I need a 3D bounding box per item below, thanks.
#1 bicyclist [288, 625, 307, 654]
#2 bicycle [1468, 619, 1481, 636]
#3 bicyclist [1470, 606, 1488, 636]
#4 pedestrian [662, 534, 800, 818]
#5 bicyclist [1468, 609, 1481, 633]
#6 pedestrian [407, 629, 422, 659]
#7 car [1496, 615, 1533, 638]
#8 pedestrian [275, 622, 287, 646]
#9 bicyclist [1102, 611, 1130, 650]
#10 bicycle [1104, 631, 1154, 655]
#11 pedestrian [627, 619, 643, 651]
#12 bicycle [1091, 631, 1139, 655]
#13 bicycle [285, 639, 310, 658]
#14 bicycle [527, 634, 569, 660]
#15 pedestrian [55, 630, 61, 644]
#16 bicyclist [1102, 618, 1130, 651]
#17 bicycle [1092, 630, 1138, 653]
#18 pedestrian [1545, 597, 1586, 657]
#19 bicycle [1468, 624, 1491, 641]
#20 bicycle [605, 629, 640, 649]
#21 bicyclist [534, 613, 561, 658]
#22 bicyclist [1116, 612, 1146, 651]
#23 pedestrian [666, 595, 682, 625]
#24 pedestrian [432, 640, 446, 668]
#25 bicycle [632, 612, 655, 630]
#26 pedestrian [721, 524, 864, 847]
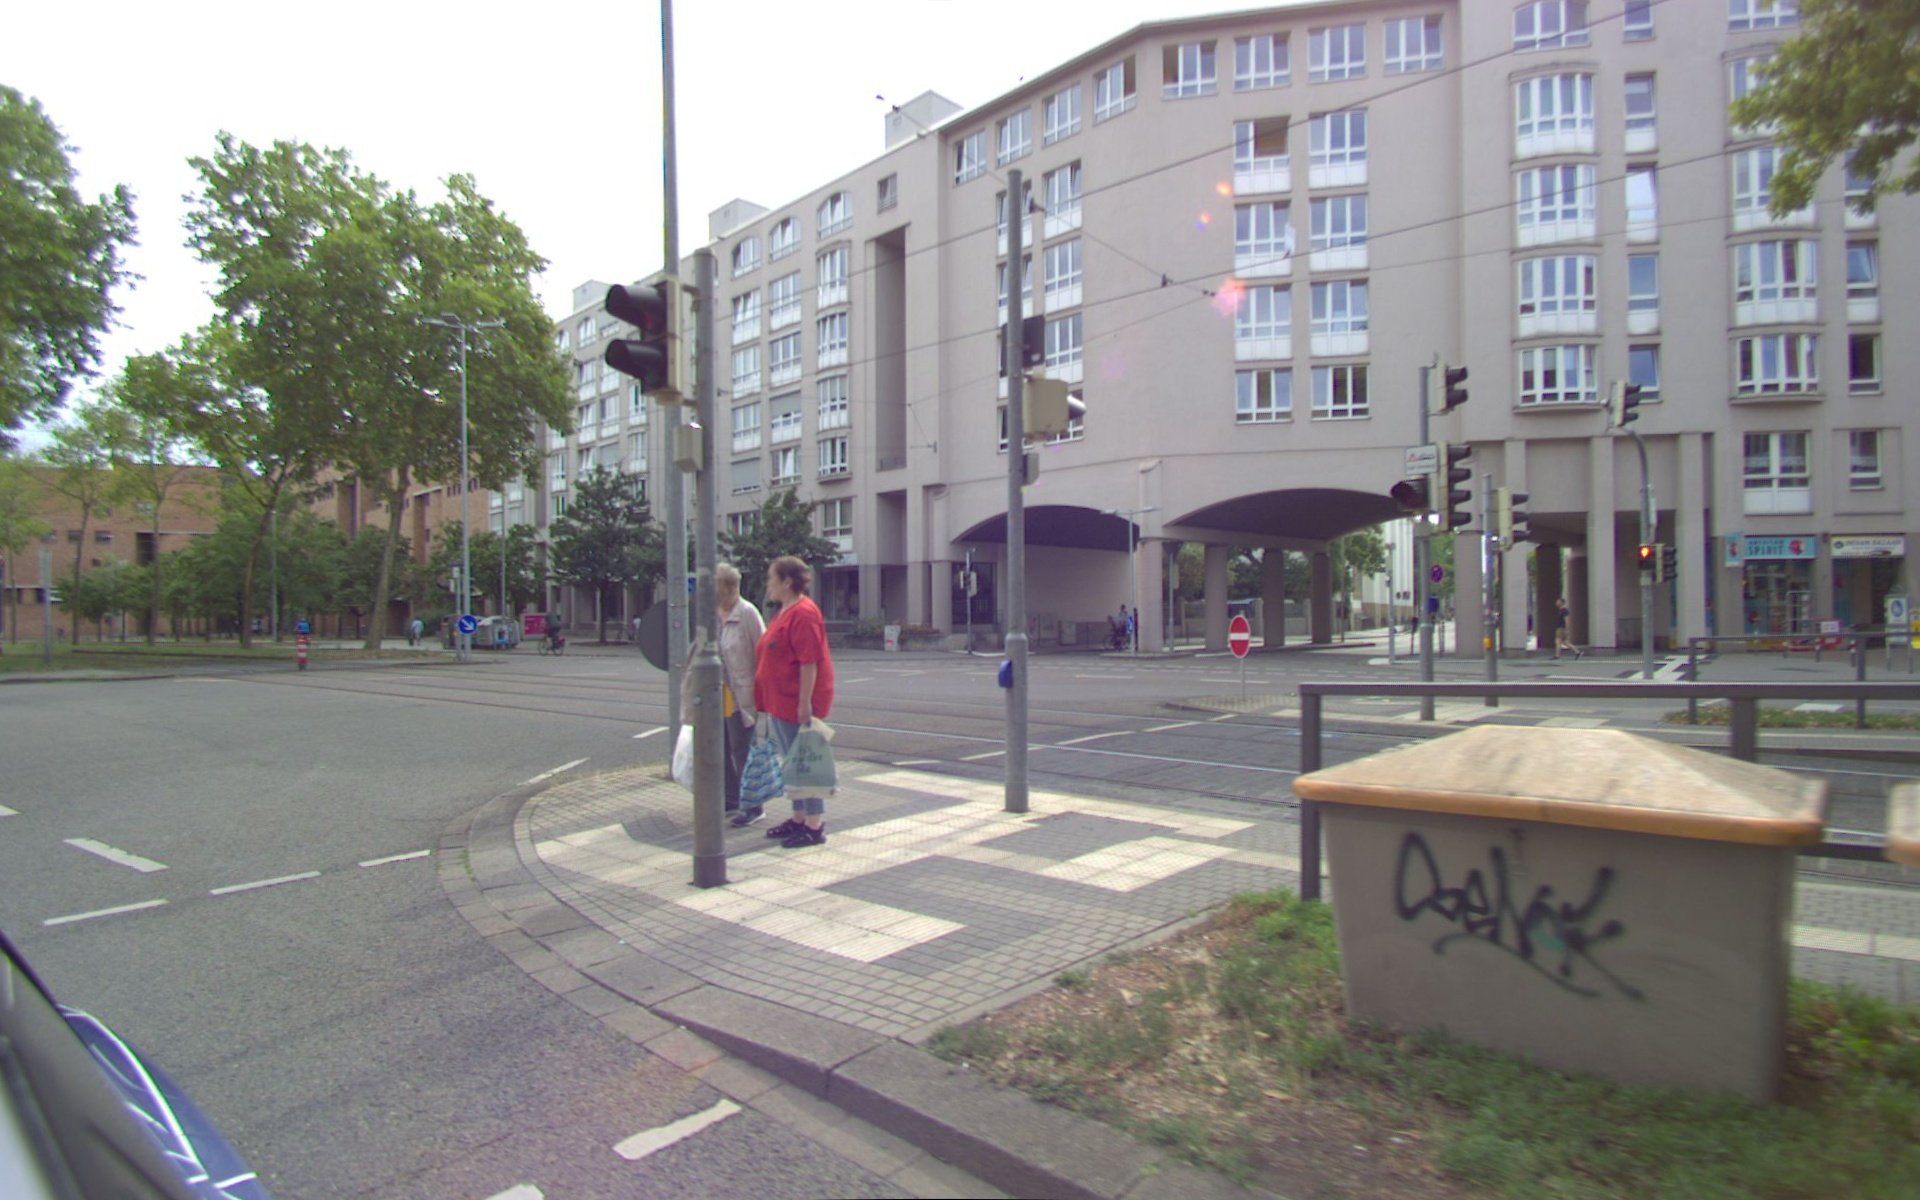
[{"bbox_3d":[-39.219,2.359,59.934,0.951,1.685,0.683,-2,-2,38],"label":"bicyclist"},{"bbox_3d":[33.332,1.749,65.600,0.710,1.056,2.086,-1,-1,28],"label":"bicycle"},{"bbox_3d":[27.887,1.139,54.384,0.582,1.574,1.019,-2,-2,42],"label":"bicyclist"},{"bbox_3d":[-1.530,0.472,6.697,0.545,1.731,0.892,0,-1,-39],"label":"pedestrian"},{"bbox_3d":[33.326,1.385,65.595,0.702,1.537,0.938,-2,-1,28],"label":"bicyclist"},{"bbox_3d":[-31.758,2.542,58.893,0.625,1.718,0.547,-2,-2,38],"label":"pedestrian"},{"bbox_3d":[39.514,1.853,72.196,1.696,1.575,3.972,-1,-1,21],"label":"car"},{"bbox_3d":[-48.798,2.476,72.758,0.625,1.718,0.547,-2,-2,38],"label":"pedestrian"},{"bbox_3d":[6.654,1.281,43.149,0.869,1.626,0.769,0,-2,-42],"label":"bicyclist"},{"bbox_3d":[6.669,1.684,39.926,2.153,0.918,0.766,0,-1,-43],"label":"bicycle"},{"bbox_3d":[-15.855,1.718,49.383,0.530,1.542,0.511,-1,-1,25],"label":"pedestrian"},{"bbox_3d":[6.346,1.730,41.322,2.153,0.918,0.766,0,-1,-43],"label":"bicycle"},{"bbox_3d":[-39.238,2.843,59.947,1.874,1.100,0.684,-2,-1,38],"label":"bicycle"},{"bbox_3d":[-17.632,2.014,43.269,2.206,1.101,0.671,-2,-2,39],"label":"bicycle"},{"bbox_3d":[-104.479,4.280,117.229,0.501,1.543,0.521,0,-2,-41],"label":"pedestrian"},{"bbox_3d":[6.379,1.387,41.360,0.869,1.314,0.769,0,-2,-42],"label":"bicyclist"},{"bbox_3d":[6.619,1.761,43.108,2.153,0.918,0.766,0,-1,-43],"label":"bicycle"},{"bbox_3d":[17.299,0.771,28.922,0.744,1.692,0.674,-1,-1,7],"label":"pedestrian"},{"bbox_3d":[27.931,1.733,54.406,0.579,0.842,1.960,-2,-1,42],"label":"bicycle"},{"bbox_3d":[-16.522,1.911,49.512,1.608,0.950,0.441,0,-2,-44],"label":"bicycle"},{"bbox_3d":[-17.644,1.517,43.292,1.080,1.862,0.660,-2,-3,39],"label":"bicyclist"},{"bbox_3d":[6.751,1.238,40.021,0.869,1.551,0.769,0,-2,-42],"label":"bicyclist"},{"bbox_3d":[-15.483,0.524,54.809,0.548,1.618,0.564,-2,0,43],"label":"pedestrian"},{"bbox_3d":[-31.611,3.270,61.436,0.625,1.718,0.547,-1,-2,38],"label":"pedestrian"},{"bbox_3d":[-17.397,1.147,55.672,1.632,0.950,0.434,-2,-1,42],"label":"bicycle"},{"bbox_3d":[-1.007,0.464,5.962,0.545,1.731,0.893,0,-1,-29],"label":"pedestrian"}]
